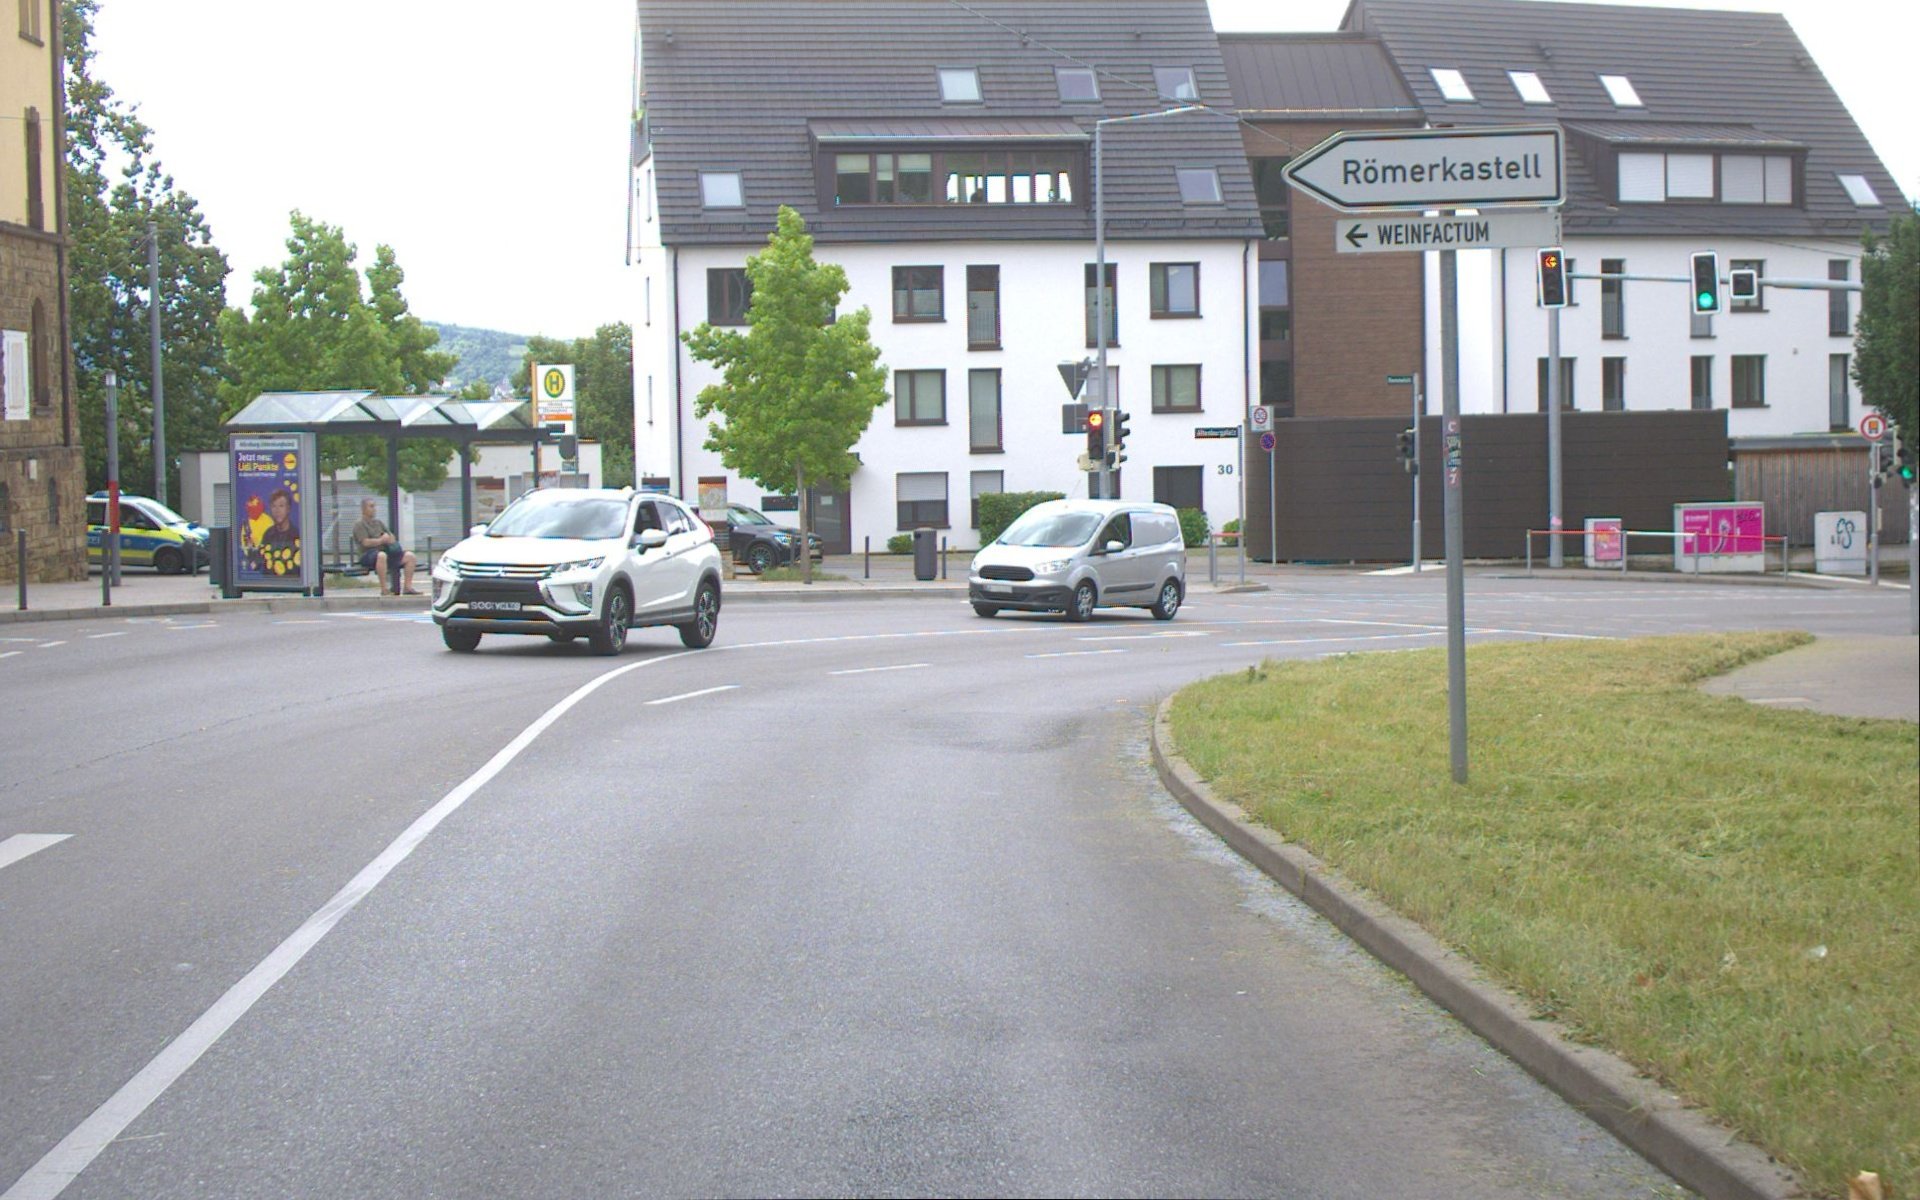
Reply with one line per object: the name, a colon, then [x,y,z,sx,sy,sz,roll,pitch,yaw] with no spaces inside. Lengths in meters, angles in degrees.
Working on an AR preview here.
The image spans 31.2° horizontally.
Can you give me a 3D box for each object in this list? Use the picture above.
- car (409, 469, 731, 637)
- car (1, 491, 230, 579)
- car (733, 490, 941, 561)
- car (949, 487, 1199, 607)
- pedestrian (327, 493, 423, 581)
car: [-3.906,-0.451,35.213,1.792,1.605,4.505,0,0,14]
car: [-20.561,-1.575,83.841,5.074,2.007,2.000,1,1,0]
car: [-2.780,-1.678,77.511,4.266,1.508,1.997,2,1,29]
car: [1.668,-0.747,48.917,1.695,1.608,4.076,2,1,32]
pedestrian: [-8.031,-0.862,47.198,0.933,1.188,0.904,2,1,26]
